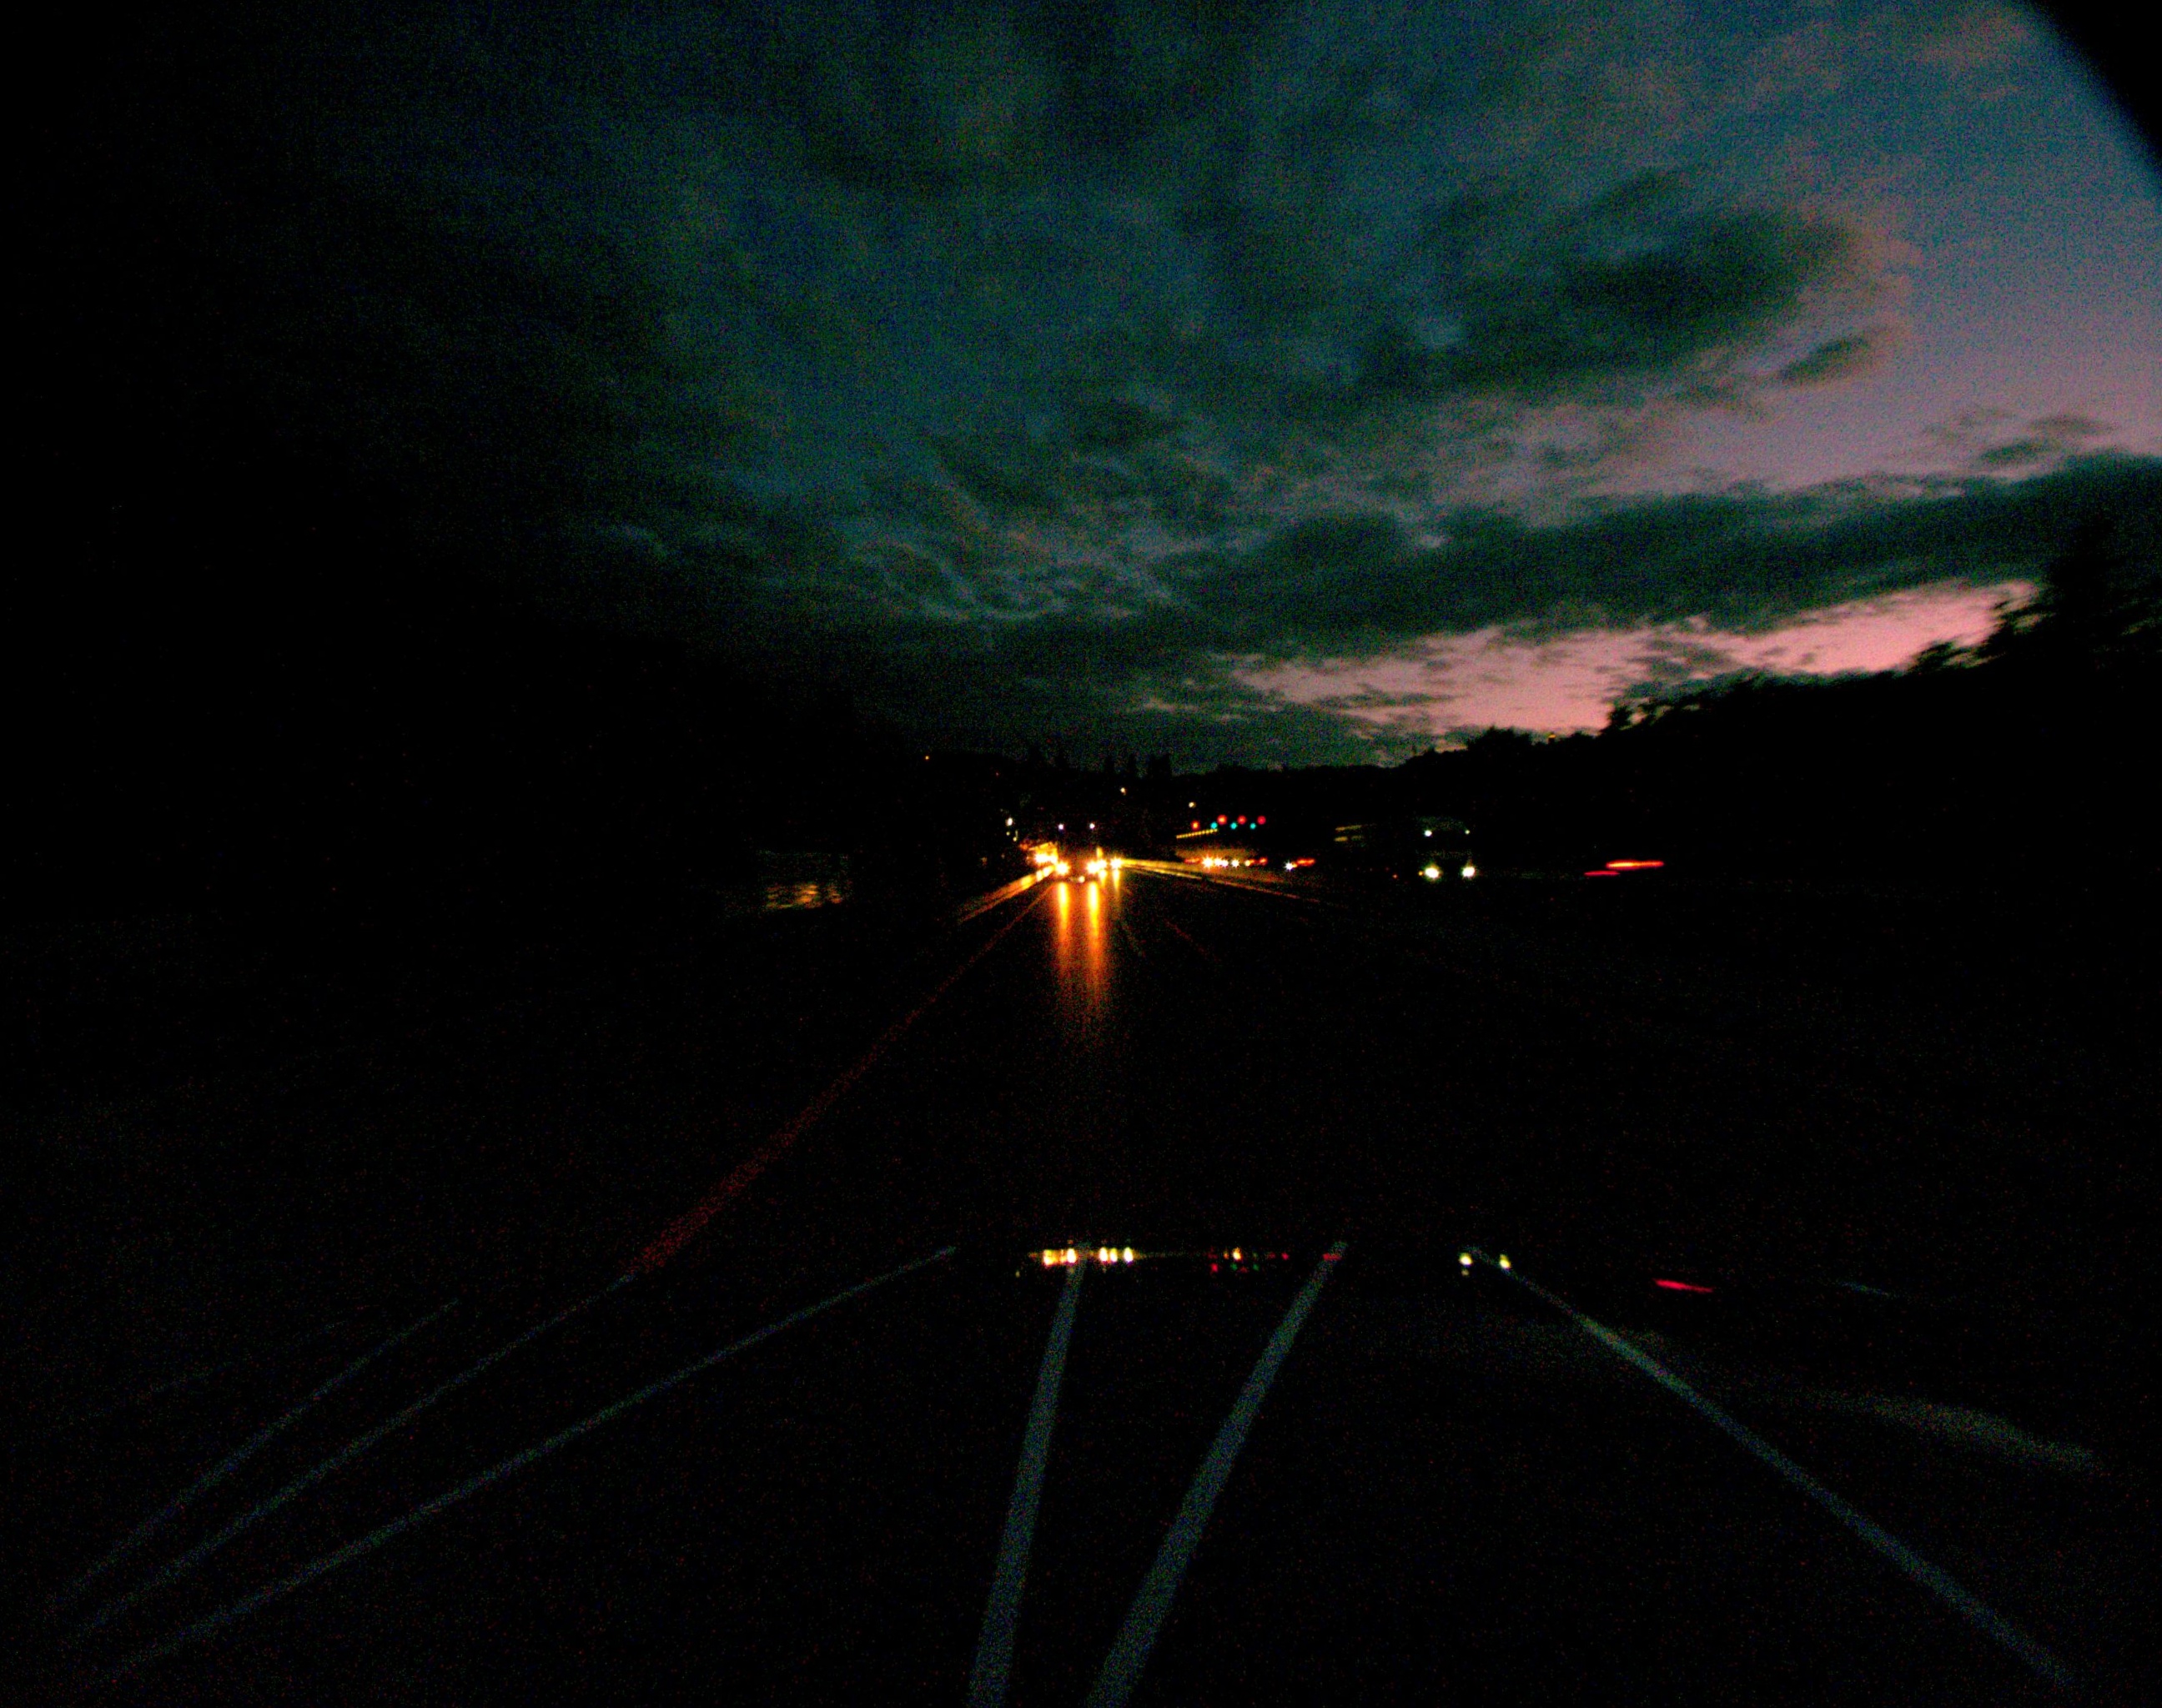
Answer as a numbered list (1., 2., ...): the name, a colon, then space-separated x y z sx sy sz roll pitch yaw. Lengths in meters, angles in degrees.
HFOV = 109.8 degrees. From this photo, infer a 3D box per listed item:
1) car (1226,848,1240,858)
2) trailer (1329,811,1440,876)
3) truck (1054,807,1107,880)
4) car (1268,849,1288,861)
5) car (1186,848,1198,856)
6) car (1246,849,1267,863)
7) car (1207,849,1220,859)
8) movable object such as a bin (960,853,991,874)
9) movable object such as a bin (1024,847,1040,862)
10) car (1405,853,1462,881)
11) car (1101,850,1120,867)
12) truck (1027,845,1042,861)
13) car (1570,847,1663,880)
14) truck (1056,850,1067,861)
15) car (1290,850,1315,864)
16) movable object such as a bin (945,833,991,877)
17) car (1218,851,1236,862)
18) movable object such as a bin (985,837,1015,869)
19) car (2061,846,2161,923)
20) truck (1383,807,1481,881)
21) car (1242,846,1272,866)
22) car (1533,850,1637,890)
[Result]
1. car: 28.735 -0.174 143.782 1.755 1.712 4.669 -3 1 -1
2. trailer: 19.963 -0.687 51.015 2.805 3.761 11.834 -3 1 1
3. truck: -0.040 -0.704 50.622 2.954 4.241 11.050 -3 1 0
4. car: 30.237 0.091 116.637 1.815 1.653 4.701 -3 1 1
5. car: 24.704 -0.421 169.519 1.811 1.579 4.876 -3 1 -1
6. car: 25.049 0.253 108.550 1.905 1.728 4.807 -3 1 1
7. car: 20.935 0.017 120.001 1.509 1.472 3.824 -3 1 1
8. movable object such as a bin: -8.528 0.749 61.813 1.998 1.592 4.083 0 1 0
9. movable object such as a bin: -9.775 0.073 153.374 2.978 2.811 7.193 -3 1 -3
10. car: 23.664 0.826 51.196 1.683 1.628 4.751 -3 1 2
11. car: 3.024 0.420 77.799 1.662 1.586 3.997 -2 1 5
12. truck: -9.987 -0.328 164.147 2.825 3.267 8.350 -3 1 -1
13. car: 29.271 0.464 41.729 1.808 1.628 4.751 -3 1 2
14. truck: -5.177 0.286 205.017 1.998 2.817 6.297 -2 1 6
15. car: 27.342 0.364 93.968 1.815 1.476 4.701 -3 1 1
16. movable object such as a bin: -8.354 0.068 56.842 2.627 3.090 5.804 -1 1 -1
17. car: 20.534 0.349 106.657 1.791 1.472 4.000 -3 1 1
18. movable object such as a bin: -8.503 -0.119 80.104 2.571 3.299 5.577 0 1 -1
19. car: 24.979 0.696 16.141 1.741 1.628 5.170 -3 1 2
20. truck: 19.732 -0.570 43.164 2.809 3.753 6.302 -3 1 3
21. car: 18.395 0.173 79.771 2.095 1.873 4.700 -3 1 1
22. car: 23.440 0.708 35.562 1.808 1.628 4.751 -3 1 2
